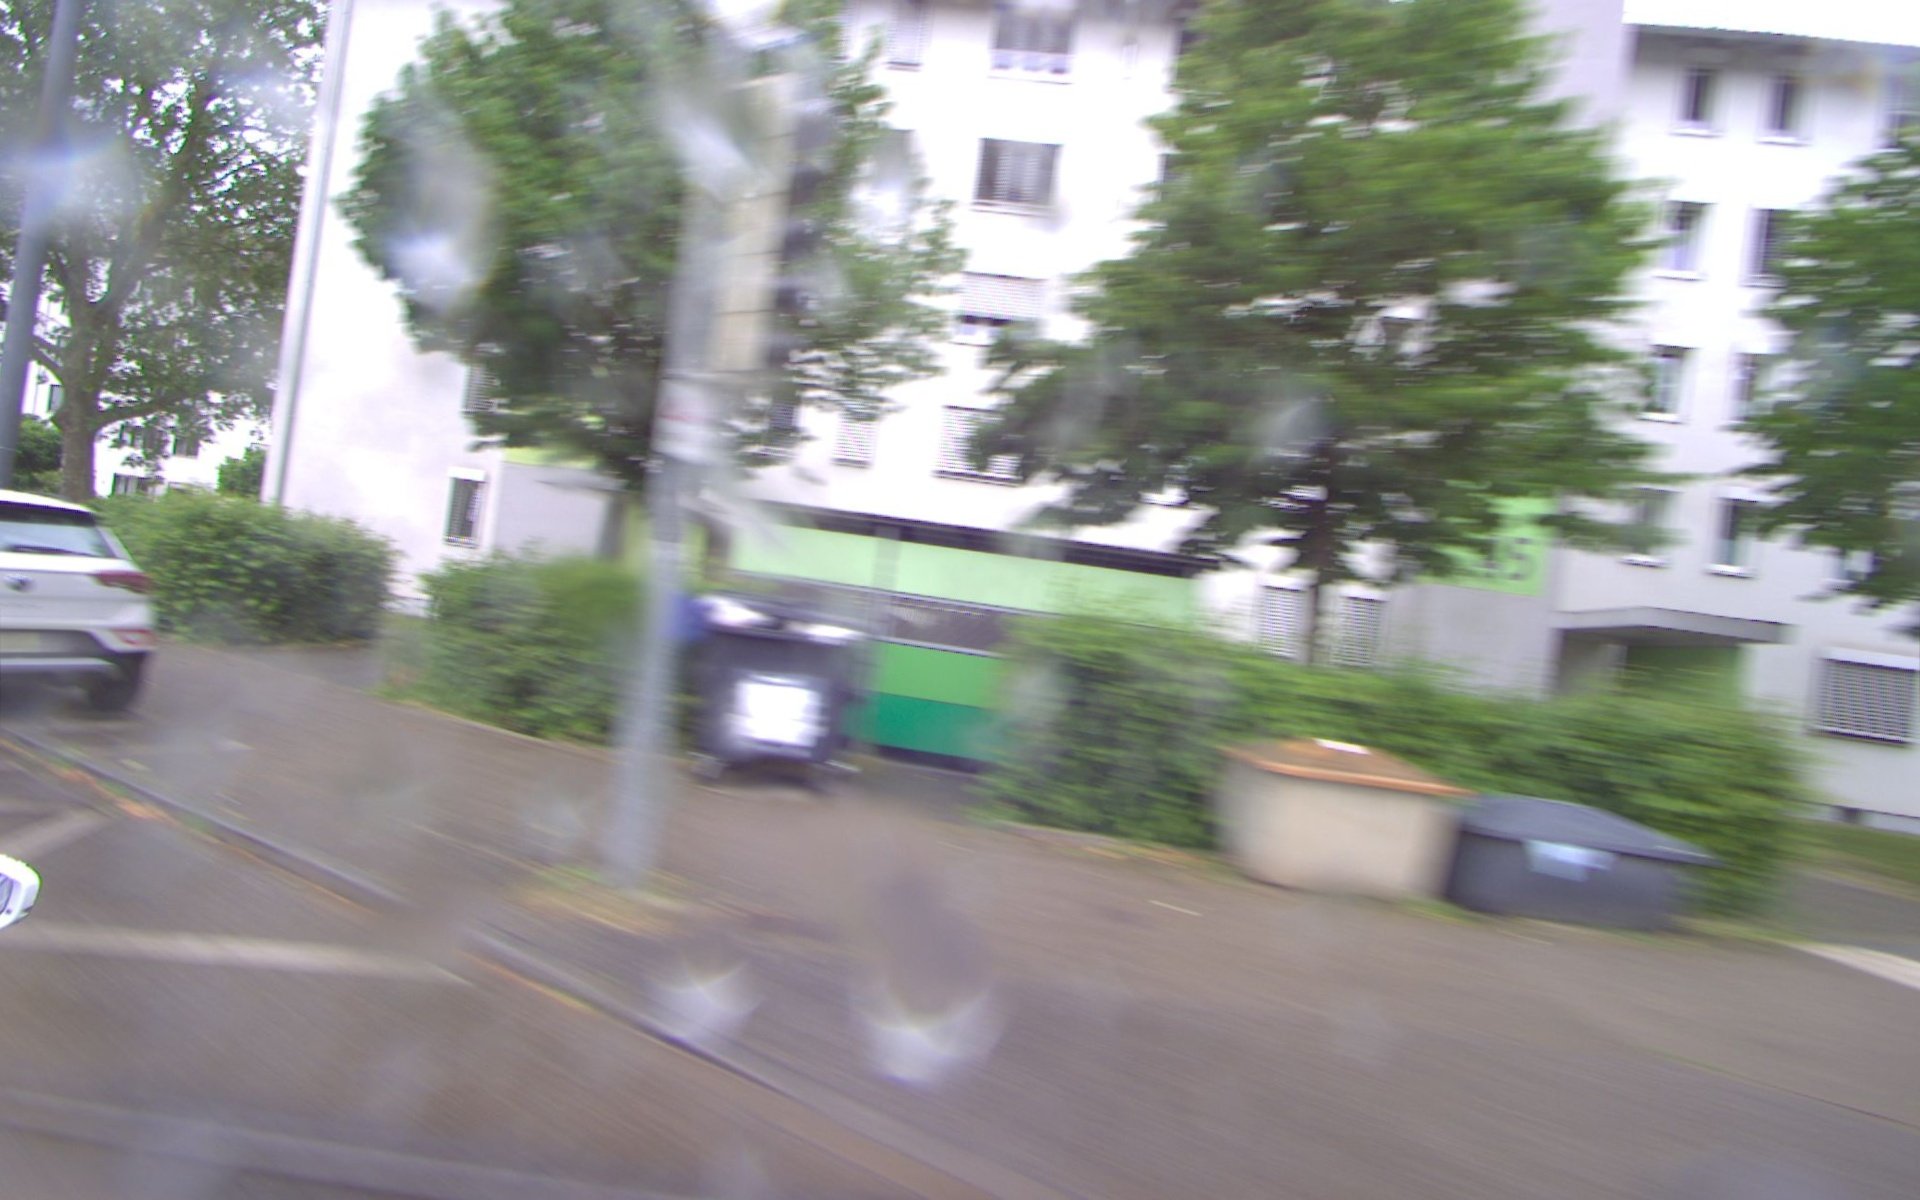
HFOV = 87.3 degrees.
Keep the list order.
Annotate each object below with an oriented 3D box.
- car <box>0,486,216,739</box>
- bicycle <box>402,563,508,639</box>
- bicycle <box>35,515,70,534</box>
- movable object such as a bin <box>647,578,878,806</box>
[{"bbox_3d":[-7.689,-0.104,7.527,4.043,1.594,1.903,7,-1,31],"label":"car"},{"bbox_3d":[-8.655,0.048,17.326,0.523,1.155,1.864,8,-1,8],"label":"bicycle"},{"bbox_3d":[-49.681,-4.129,55.061,1.542,0.858,0.491,7,0,8],"label":"bicycle"},{"bbox_3d":[-1.459,0.668,7.714,1.451,1.458,1.151,7,0,-7],"label":"movable object such as a bin"}]
